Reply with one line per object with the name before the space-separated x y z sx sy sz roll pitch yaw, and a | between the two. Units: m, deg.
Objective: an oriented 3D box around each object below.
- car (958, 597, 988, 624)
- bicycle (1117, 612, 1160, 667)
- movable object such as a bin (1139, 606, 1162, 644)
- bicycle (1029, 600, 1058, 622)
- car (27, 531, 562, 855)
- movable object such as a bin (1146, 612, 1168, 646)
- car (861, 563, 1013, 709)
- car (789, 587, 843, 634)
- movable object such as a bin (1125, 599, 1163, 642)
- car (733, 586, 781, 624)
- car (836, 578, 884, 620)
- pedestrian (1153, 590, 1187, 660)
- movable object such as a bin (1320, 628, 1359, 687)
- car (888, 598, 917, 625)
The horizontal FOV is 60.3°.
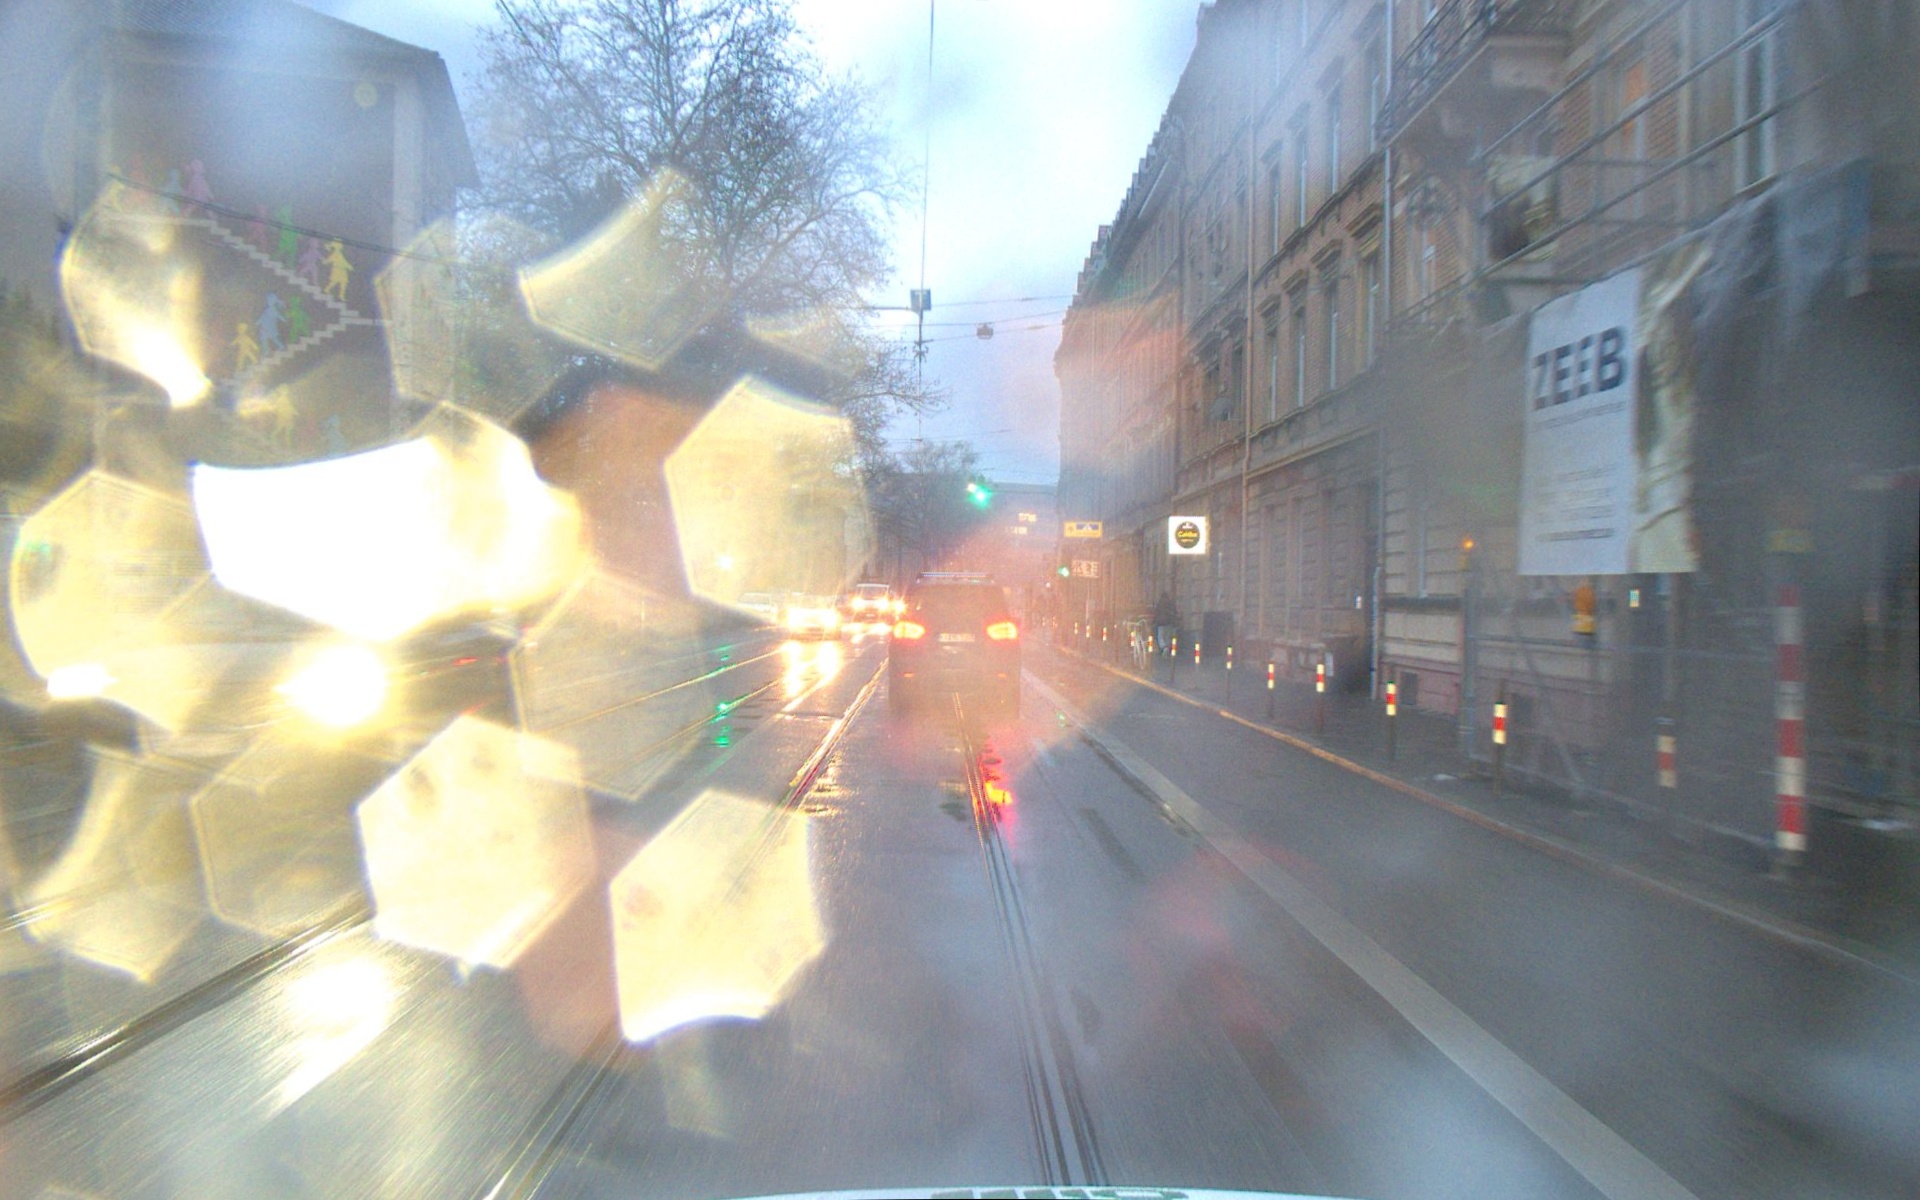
car | 0.904 0.724 115.178 1.952 1.874 4.001 1 0 2
bicycle | 3.950 0.862 36.756 0.670 1.176 2.188 1 0 -1
movable object such as a bin | 5.611 0.742 48.803 0.598 1.101 0.600 0 0 14
bicycle | 4.531 0.571 90.039 0.781 1.164 2.230 1 0 -19
car | -4.160 0.490 11.307 1.837 1.739 4.759 0 0 -2
movable object such as a bin | 5.568 0.803 46.717 0.482 0.945 0.421 0 0 -27
car | -0.235 0.470 23.522 1.952 1.874 4.001 1 0 2
car | -4.766 0.343 55.101 1.499 1.507 3.561 1 0 -1
movable object such as a bin | 5.621 0.623 50.651 0.871 1.311 1.260 0 0 -8
car | -9.289 0.234 75.912 1.945 1.644 4.424 1 0 -5
car | -5.710 -0.035 95.236 2.396 2.388 5.844 0 0 0
pedestrian | 5.311 0.625 41.832 0.817 1.731 0.954 1 -1 8
movable object such as a bin | 6.212 0.938 27.082 0.496 0.947 0.507 1 0 -2
car | -4.479 0.907 128.928 1.952 2.049 4.000 1 0 1
